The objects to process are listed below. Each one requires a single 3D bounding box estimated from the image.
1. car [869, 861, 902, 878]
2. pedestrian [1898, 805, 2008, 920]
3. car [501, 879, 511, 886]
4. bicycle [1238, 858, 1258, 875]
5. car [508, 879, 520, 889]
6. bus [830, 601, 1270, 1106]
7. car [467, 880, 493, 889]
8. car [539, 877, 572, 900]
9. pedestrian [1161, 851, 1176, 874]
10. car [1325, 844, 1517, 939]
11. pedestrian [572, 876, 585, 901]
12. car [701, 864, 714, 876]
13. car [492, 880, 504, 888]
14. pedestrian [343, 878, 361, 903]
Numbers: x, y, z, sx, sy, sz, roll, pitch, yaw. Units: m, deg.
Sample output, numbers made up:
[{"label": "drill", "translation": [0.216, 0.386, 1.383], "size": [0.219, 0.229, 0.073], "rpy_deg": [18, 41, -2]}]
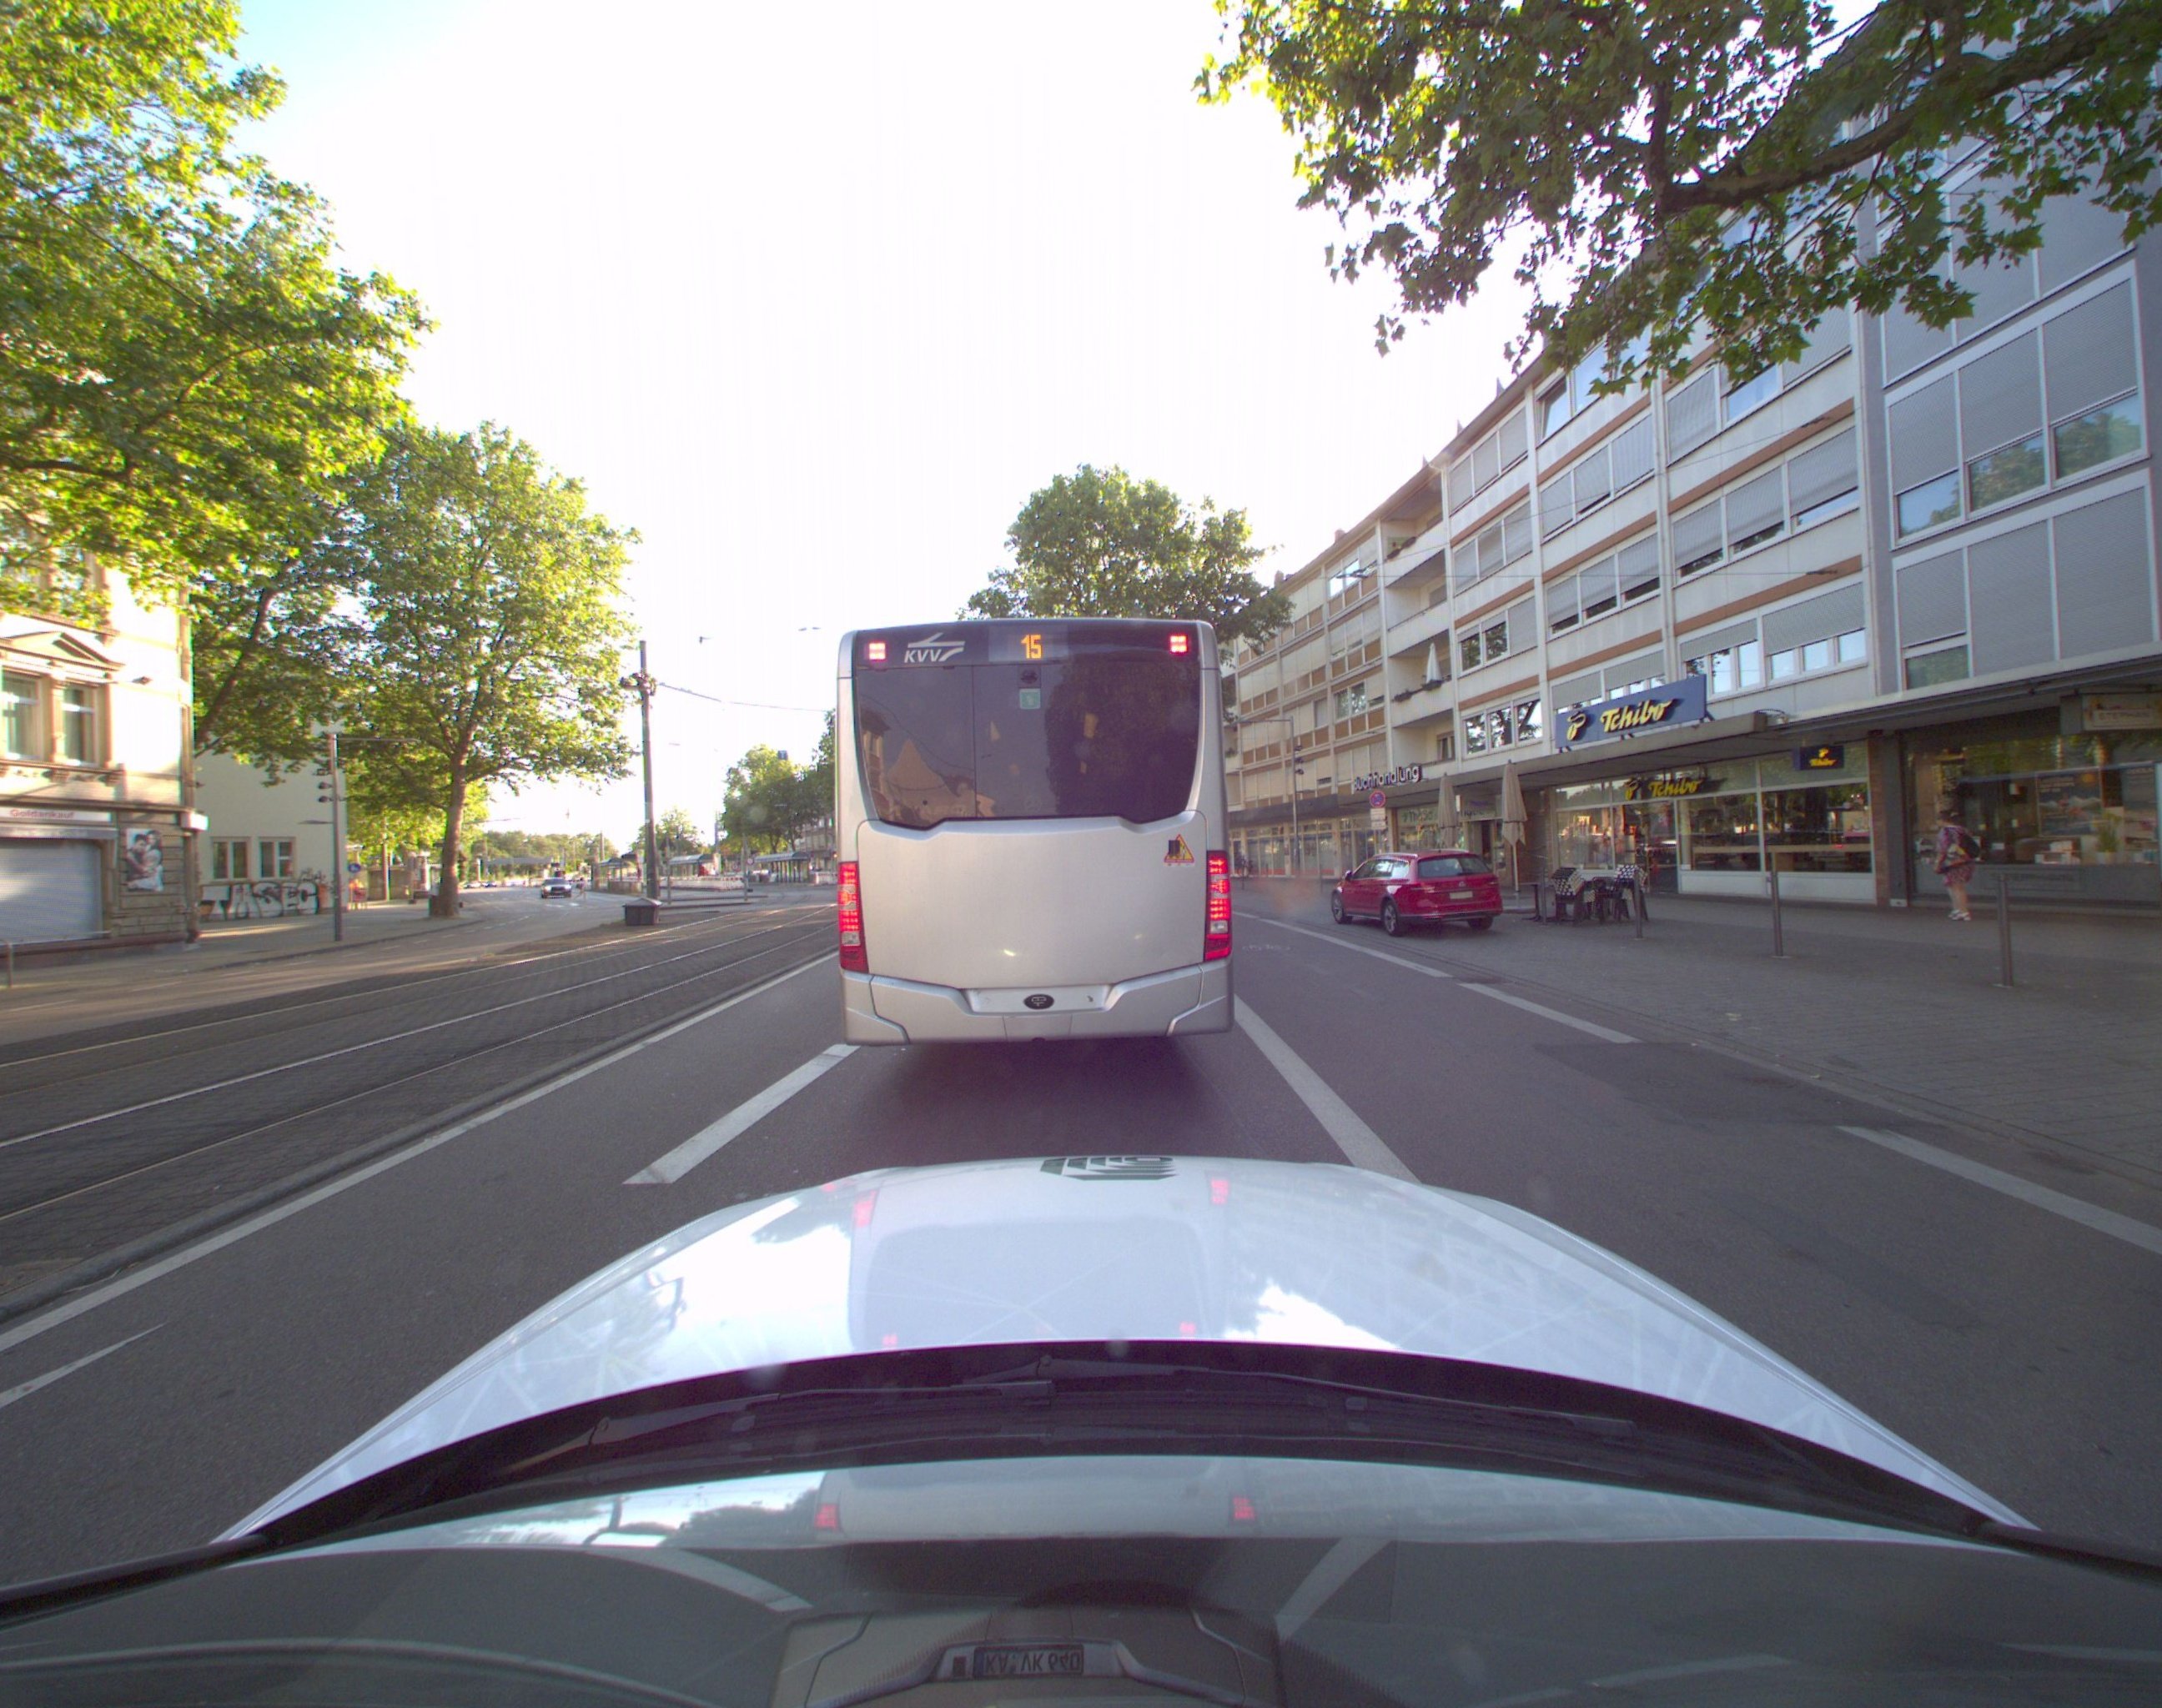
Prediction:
[{"label": "car", "translation": [-21.303, 1.668, 88.567], "size": [2.010, 1.792, 3.954], "rpy_deg": [0, -1, -39]}, {"label": "pedestrian", "translation": [12.802, 0.118, 11.980], "size": [0.649, 1.592, 0.788], "rpy_deg": [-4, -1, -4]}, {"label": "car", "translation": [-130.086, 6.451, 184.205], "size": [1.858, 1.684, 3.676], "rpy_deg": [-2, -1, -35]}, {"label": "bicycle", "translation": [9.308, 0.716, 45.535], "size": [0.413, 0.945, 1.431], "rpy_deg": [-2, -1, -18]}, {"label": "car", "translation": [-111.442, 5.880, 160.026], "size": [1.858, 1.684, 3.677], "rpy_deg": [-4, 1, -35]}, {"label": "bus", "translation": [-0.172, 0.017, 9.948], "size": [2.622, 3.028, 9.995], "rpy_deg": [-1, 0, 0]}, {"label": "car", "translation": [-122.662, 6.304, 166.150], "size": [1.768, 1.640, 4.024], "rpy_deg": [-3, -1, 44]}, {"label": "car", "translation": [-40.056, 2.605, 62.079], "size": [2.008, 1.640, 3.958], "rpy_deg": [-2, -1, -33]}, {"label": "pedestrian", "translation": [6.120, 0.611, 56.770], "size": [0.785, 1.597, 0.625], "rpy_deg": [-2, -1, -18]}, {"label": "car", "translation": [6.364, 0.640, 15.836], "size": [1.765, 1.482, 4.300], "rpy_deg": [-3, 0, -2]}, {"label": "pedestrian", "translation": [-33.739, 2.307, 54.700], "size": [0.661, 1.656, 0.438], "rpy_deg": [-2, -1, -41]}, {"label": "car", "translation": [-65.590, 2.857, 143.168], "size": [1.629, 2.014, 3.080], "rpy_deg": [-2, -1, -32]}, {"label": "car", "translation": [-117.823, 6.067, 164.686], "size": [1.858, 1.684, 3.676], "rpy_deg": [-2, -1, -35]}, {"label": "pedestrian", "translation": [-45.312, 2.281, 50.625], "size": [0.487, 1.513, 0.614], "rpy_deg": [-3, 0, 25]}]
